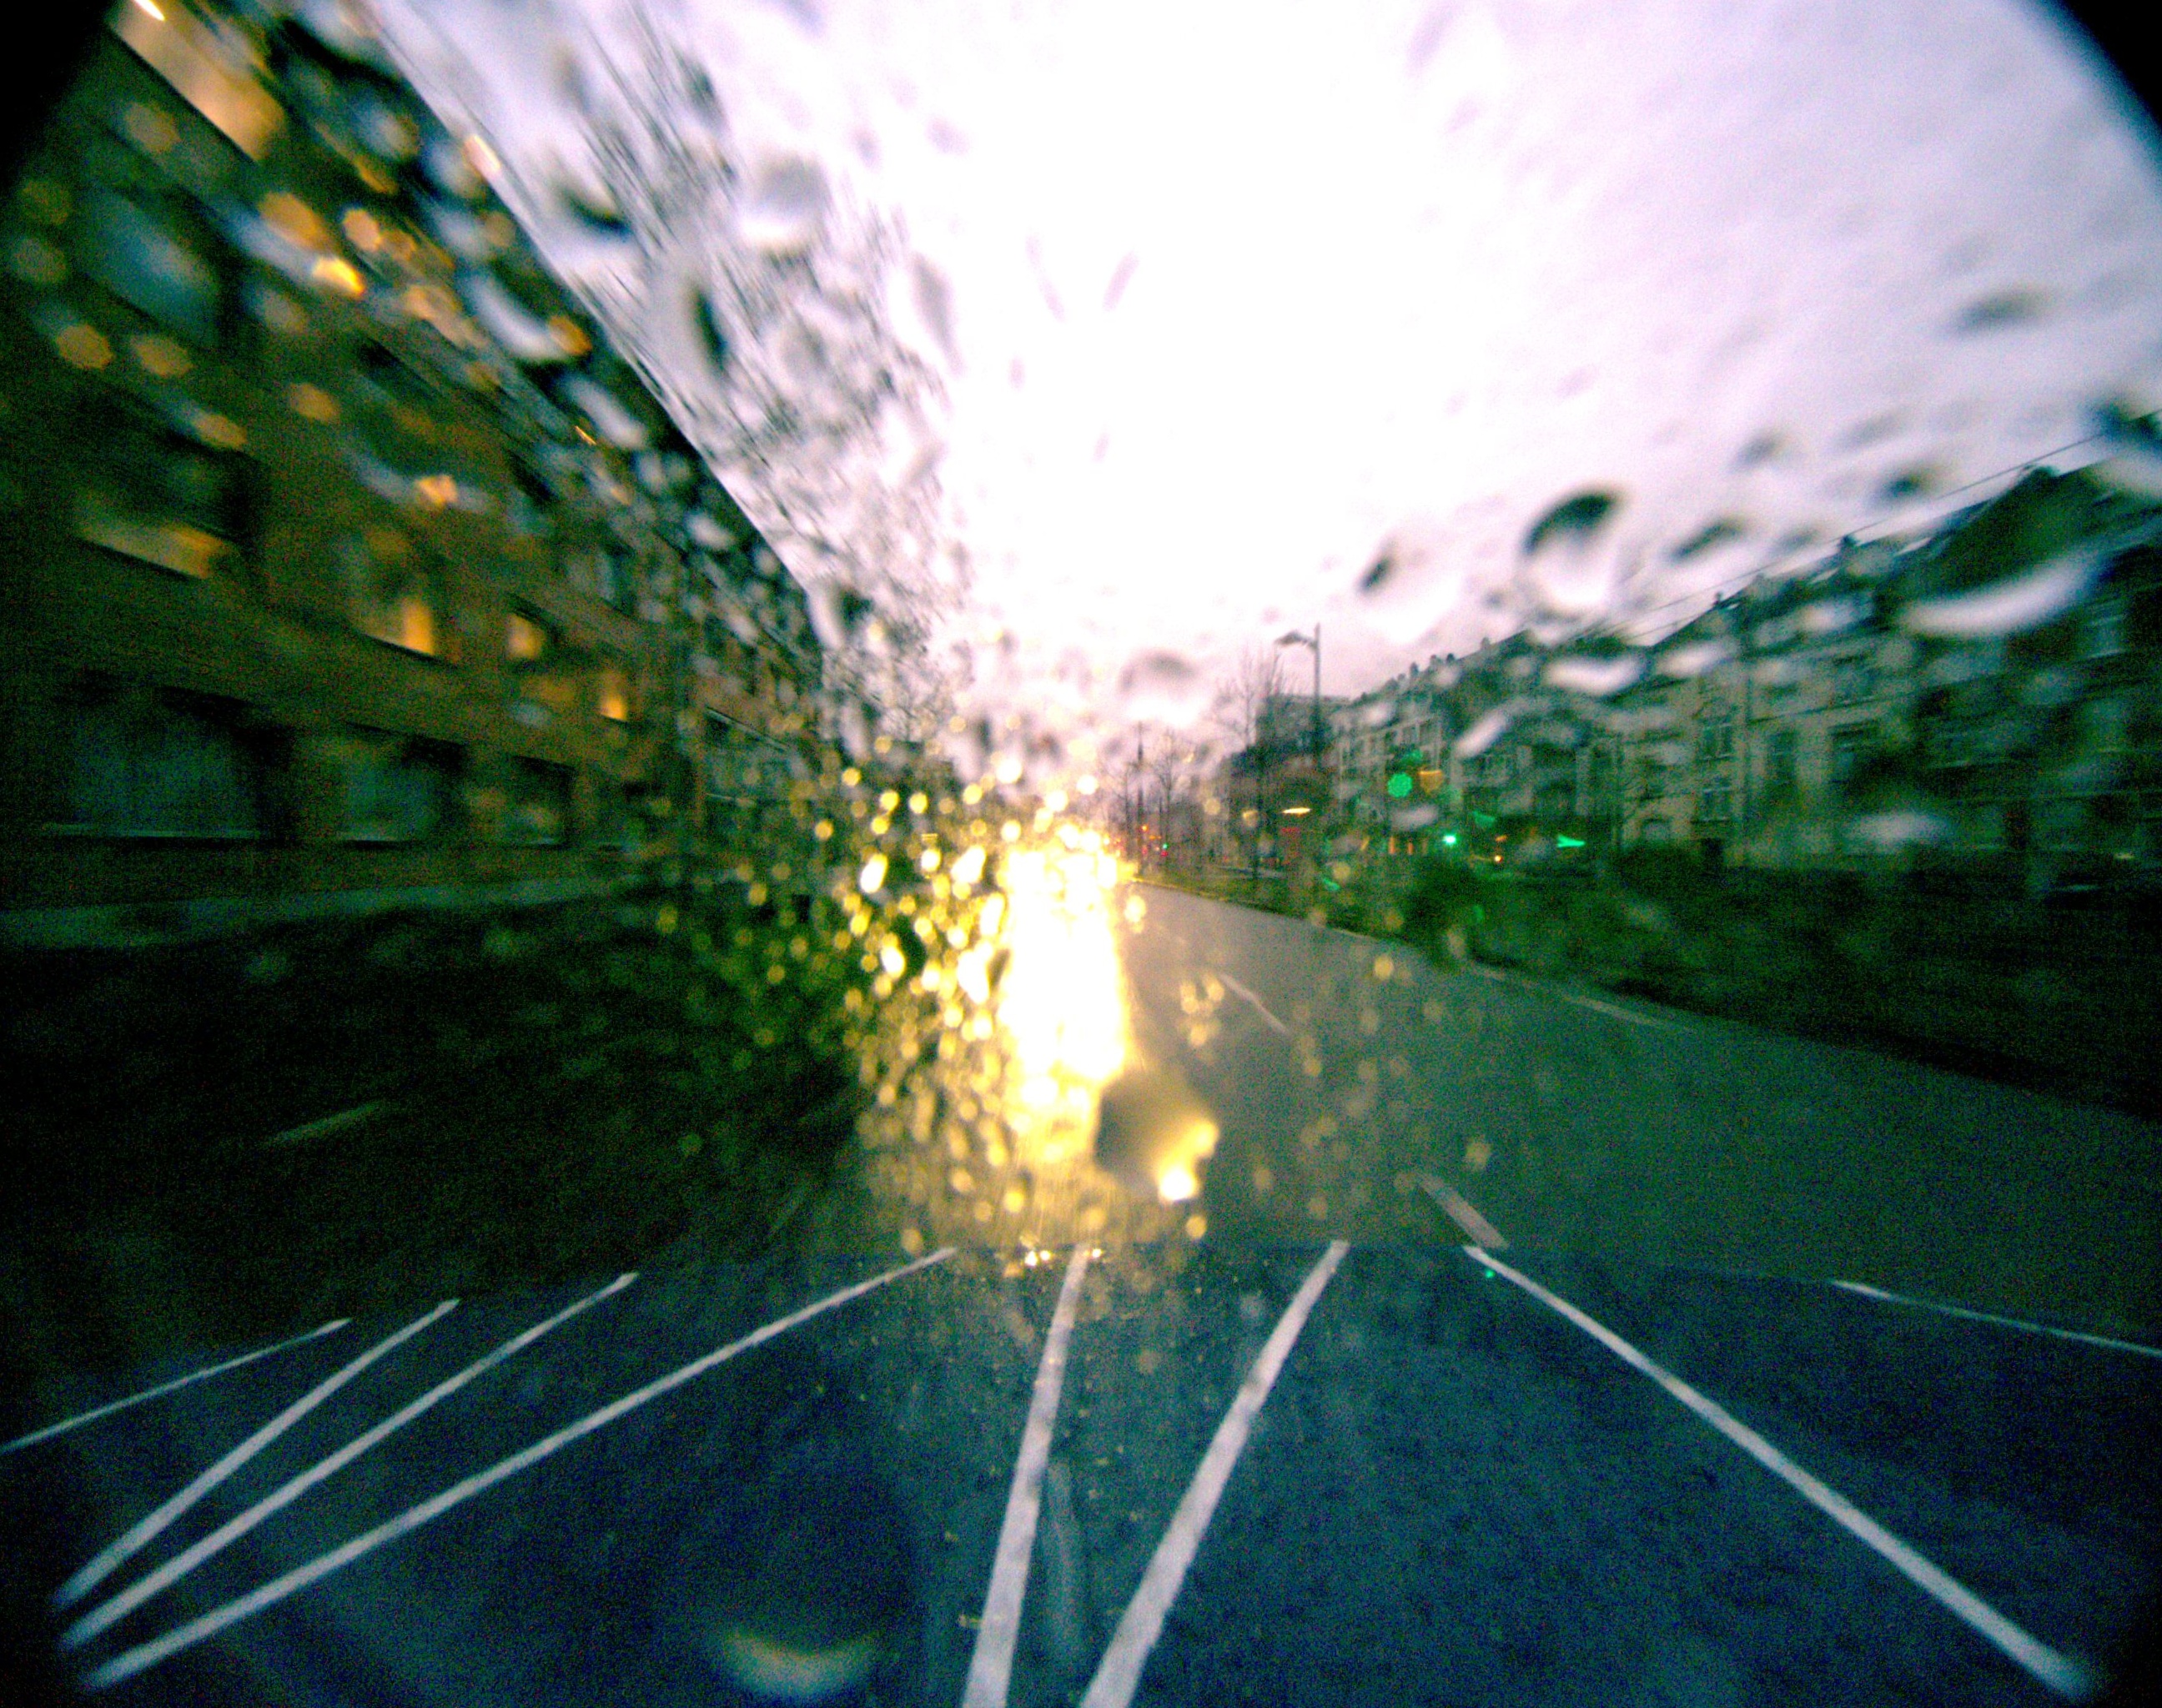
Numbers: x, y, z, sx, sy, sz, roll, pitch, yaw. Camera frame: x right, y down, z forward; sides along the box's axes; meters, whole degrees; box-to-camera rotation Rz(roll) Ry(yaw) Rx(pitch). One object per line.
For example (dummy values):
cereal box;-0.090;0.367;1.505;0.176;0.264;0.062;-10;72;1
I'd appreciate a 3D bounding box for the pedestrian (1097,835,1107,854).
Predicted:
pedestrian;2.203;-0.989;79.000;0.877;2.002;0.931;1;1;6

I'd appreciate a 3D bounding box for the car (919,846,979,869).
car;-9.302;0.208;53.771;3.998;1.547;1.741;1;1;-4

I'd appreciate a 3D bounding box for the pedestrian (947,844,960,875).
pedestrian;-7.509;0.343;44.778;0.506;1.814;0.656;0;1;-31

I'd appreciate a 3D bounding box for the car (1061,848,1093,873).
car;-0.309;0.407;50.452;1.814;1.488;4.051;-2;1;-5

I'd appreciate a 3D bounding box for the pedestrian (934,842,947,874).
pedestrian;-7.838;0.227;42.386;0.506;1.732;0.656;0;1;-38

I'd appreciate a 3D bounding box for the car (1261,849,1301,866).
car;17.496;0.289;66.769;1.870;1.444;4.696;0;1;-5

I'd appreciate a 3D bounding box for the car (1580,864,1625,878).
car;43.154;1.424;62.877;2.899;1.069;1.330;0;1;-6

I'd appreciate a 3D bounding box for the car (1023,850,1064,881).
car;-1.910;0.542;37.622;1.814;1.385;4.051;-2;1;-5

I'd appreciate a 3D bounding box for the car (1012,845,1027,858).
car;-8.554;-0.330;105.802;1.999;1.694;3.998;0;0;-5
